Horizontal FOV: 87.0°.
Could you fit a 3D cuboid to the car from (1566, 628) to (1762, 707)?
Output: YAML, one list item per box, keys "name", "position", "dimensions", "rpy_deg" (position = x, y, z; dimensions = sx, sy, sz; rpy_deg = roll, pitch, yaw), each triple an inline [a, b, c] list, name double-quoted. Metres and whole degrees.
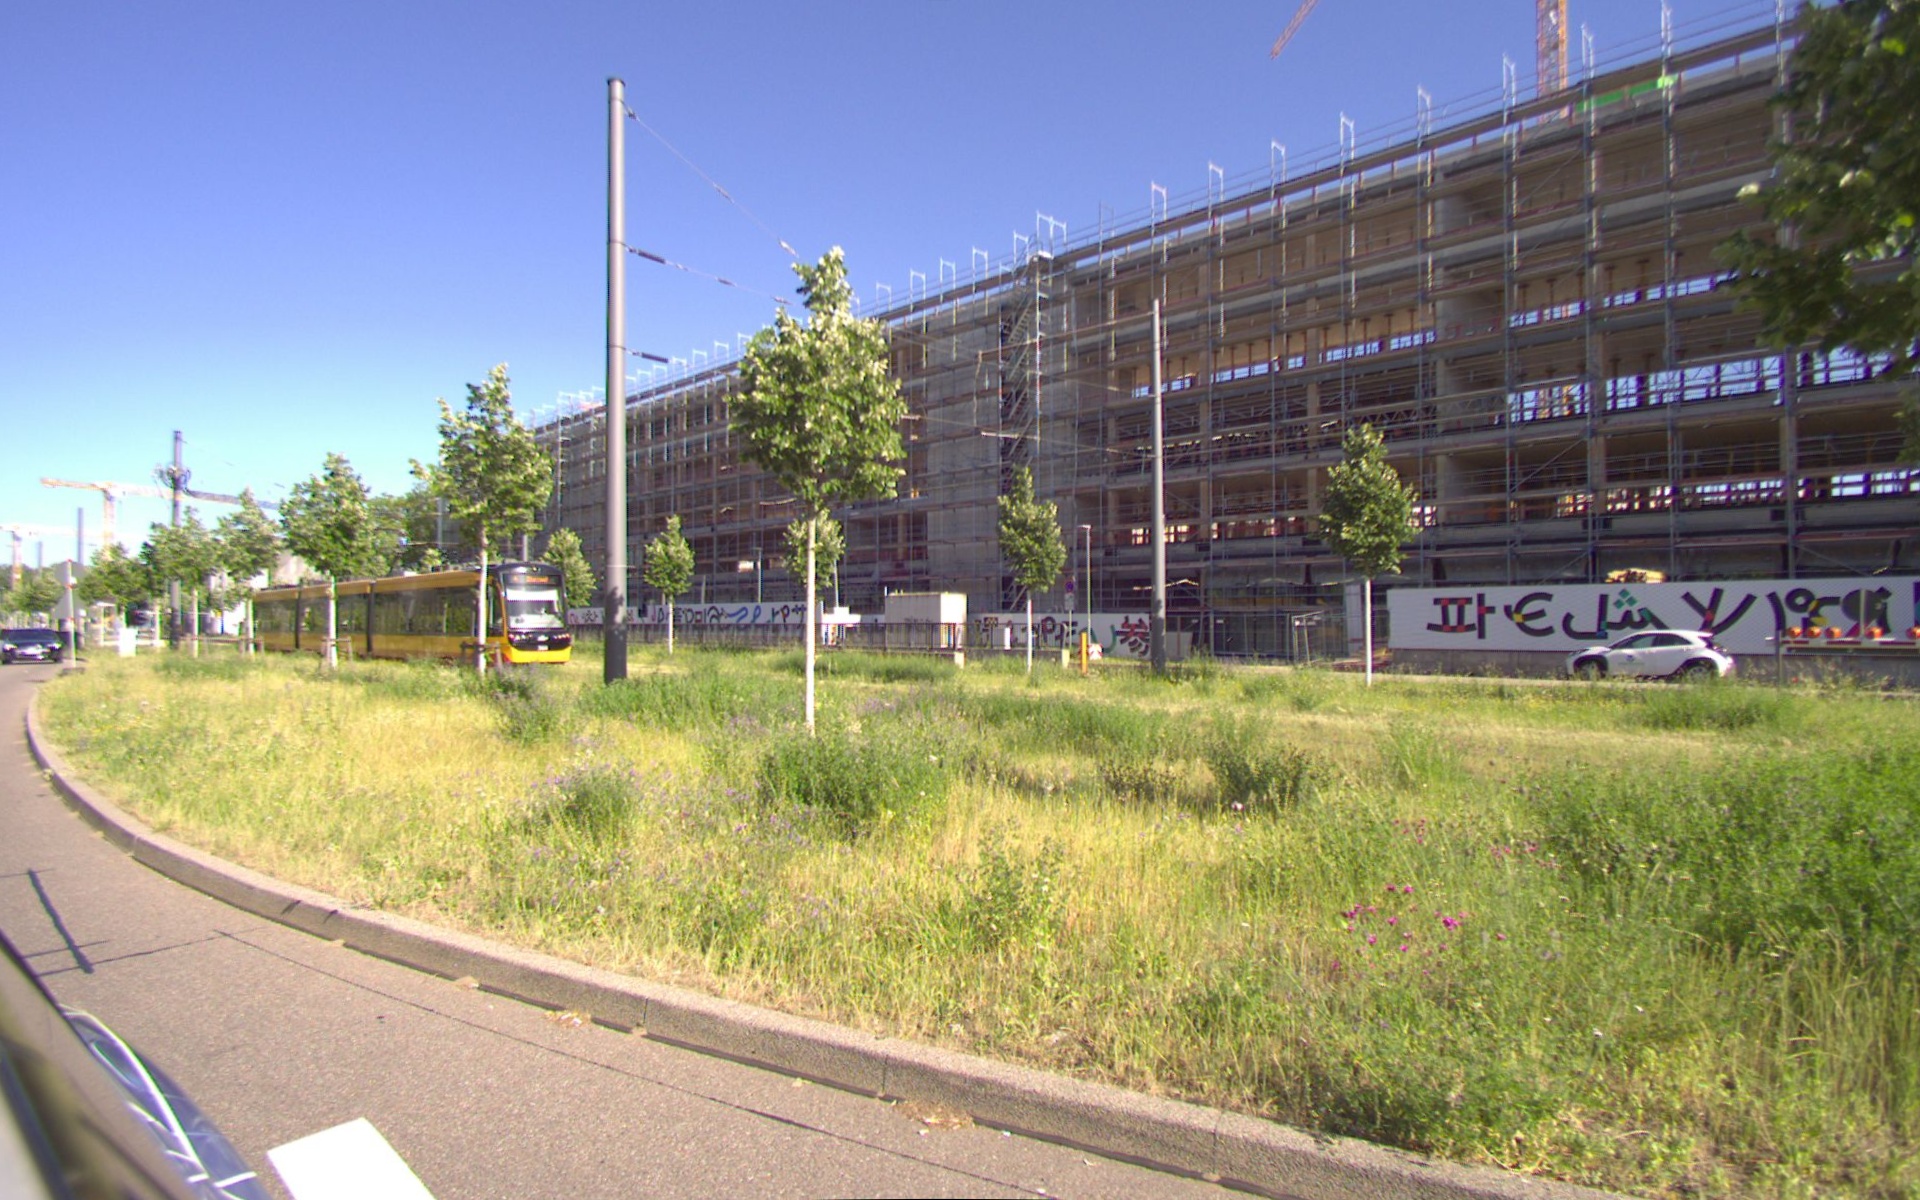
- name: "car"
  position: [18.719, 1.722, 27.032]
  dimensions: [1.886, 1.933, 3.989]
  rpy_deg: [1, -2, -44]

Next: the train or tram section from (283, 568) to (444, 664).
- name: "train or tram section"
  position: [-26.246, 0.748, 44.092]
  dimensions: [12.793, 3.666, 2.784]
  rpy_deg: [-1, -2, 44]

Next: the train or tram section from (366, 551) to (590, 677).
- name: "train or tram section"
  position: [-17.100, 0.554, 35.092]
  dimensions: [12.794, 3.666, 2.783]
  rpy_deg: [-1, -2, 45]

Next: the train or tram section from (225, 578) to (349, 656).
- name: "train or tram section"
  position: [-35.452, 0.954, 53.005]
  dimensions: [12.793, 3.666, 2.784]
  rpy_deg: [-1, -2, 44]

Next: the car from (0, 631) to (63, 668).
- name: "car"
  position: [-38.148, 1.988, 41.477]
  dimensions: [1.900, 1.454, 4.181]
  rpy_deg: [1, -2, -44]

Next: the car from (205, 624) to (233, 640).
- name: "car"
  position: [-99.075, 4.267, 135.344]
  dimensions: [4.398, 2.175, 2.306]
  rpy_deg: [-2, -2, 44]
